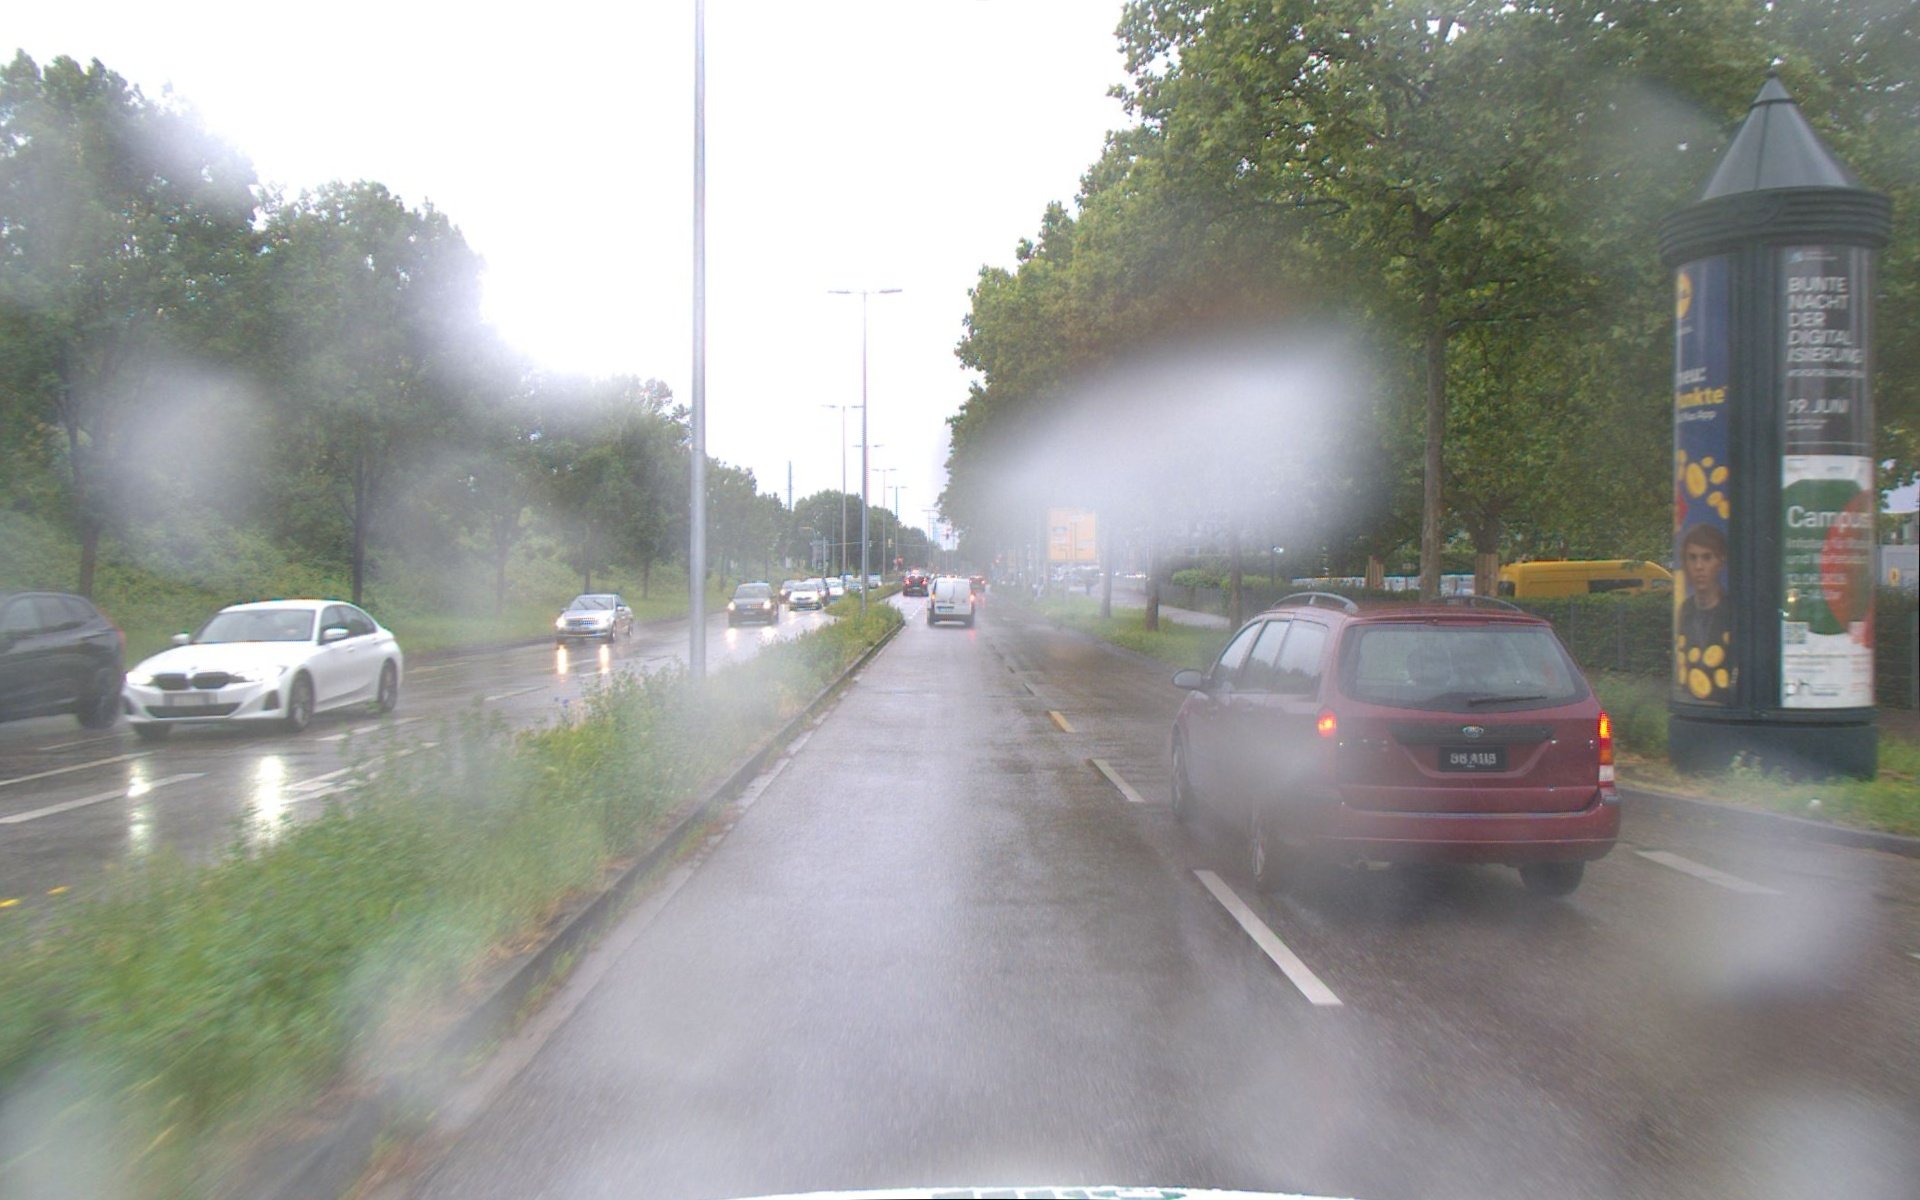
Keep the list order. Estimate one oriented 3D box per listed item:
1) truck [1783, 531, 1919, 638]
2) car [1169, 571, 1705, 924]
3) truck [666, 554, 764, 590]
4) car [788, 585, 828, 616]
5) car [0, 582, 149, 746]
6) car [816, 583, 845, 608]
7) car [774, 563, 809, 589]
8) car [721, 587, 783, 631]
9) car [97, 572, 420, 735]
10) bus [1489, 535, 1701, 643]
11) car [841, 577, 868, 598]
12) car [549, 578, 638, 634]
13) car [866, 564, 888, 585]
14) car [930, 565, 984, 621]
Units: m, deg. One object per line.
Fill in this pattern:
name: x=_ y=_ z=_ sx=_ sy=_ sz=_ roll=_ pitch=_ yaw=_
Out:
truck: x=29.600 y=-0.364 z=51.782 sx=9.398 sy=3.085 sz=3.041 roll=1 pitch=-1 yaw=-37
car: x=2.422 y=0.646 z=9.539 sx=1.802 sy=1.563 sz=4.111 roll=1 pitch=1 yaw=-1
truck: x=-25.342 y=-2.852 z=171.529 sx=10.034 sy=3.512 sz=2.623 roll=1 pitch=-1 yaw=-38
car: x=-8.287 y=0.011 z=90.646 sx=1.860 sy=1.641 sz=4.111 roll=-1 pitch=1 yaw=-1
car: x=-10.952 y=0.667 z=18.031 sx=1.996 sy=1.689 sz=4.677 roll=-1 pitch=1 yaw=-2
car: x=-8.867 y=-0.328 z=113.035 sx=1.871 sy=1.601 sz=4.704 roll=-2 pitch=1 yaw=-5
car: x=-11.589 y=-1.660 z=114.015 sx=1.953 sy=1.717 sz=4.709 roll=-2 pitch=1 yaw=0
car: x=-8.397 y=0.330 z=67.069 sx=1.859 sy=1.641 sz=4.112 roll=-2 pitch=1 yaw=1
car: x=-8.161 y=0.538 z=19.790 sx=1.860 sy=1.641 sz=4.711 roll=-2 pitch=1 yaw=-1
bus: x=16.369 y=-0.289 z=42.801 sx=4.694 sy=2.693 sz=2.000 roll=0 pitch=1 yaw=0
car: x=-8.855 y=-1.054 z=139.021 sx=1.870 sy=1.601 sz=4.709 roll=-3 pitch=1 yaw=0
car: x=-11.303 y=0.145 z=51.238 sx=1.860 sy=1.641 sz=4.476 roll=-1 pitch=1 yaw=-2
car: x=-8.452 y=-2.602 z=168.602 sx=1.788 sy=1.600 sz=4.363 roll=7 pitch=6 yaw=-1
car: x=-0.160 y=-0.254 z=63.908 sx=1.953 sy=2.049 sz=3.998 roll=1 pitch=-1 yaw=-2
